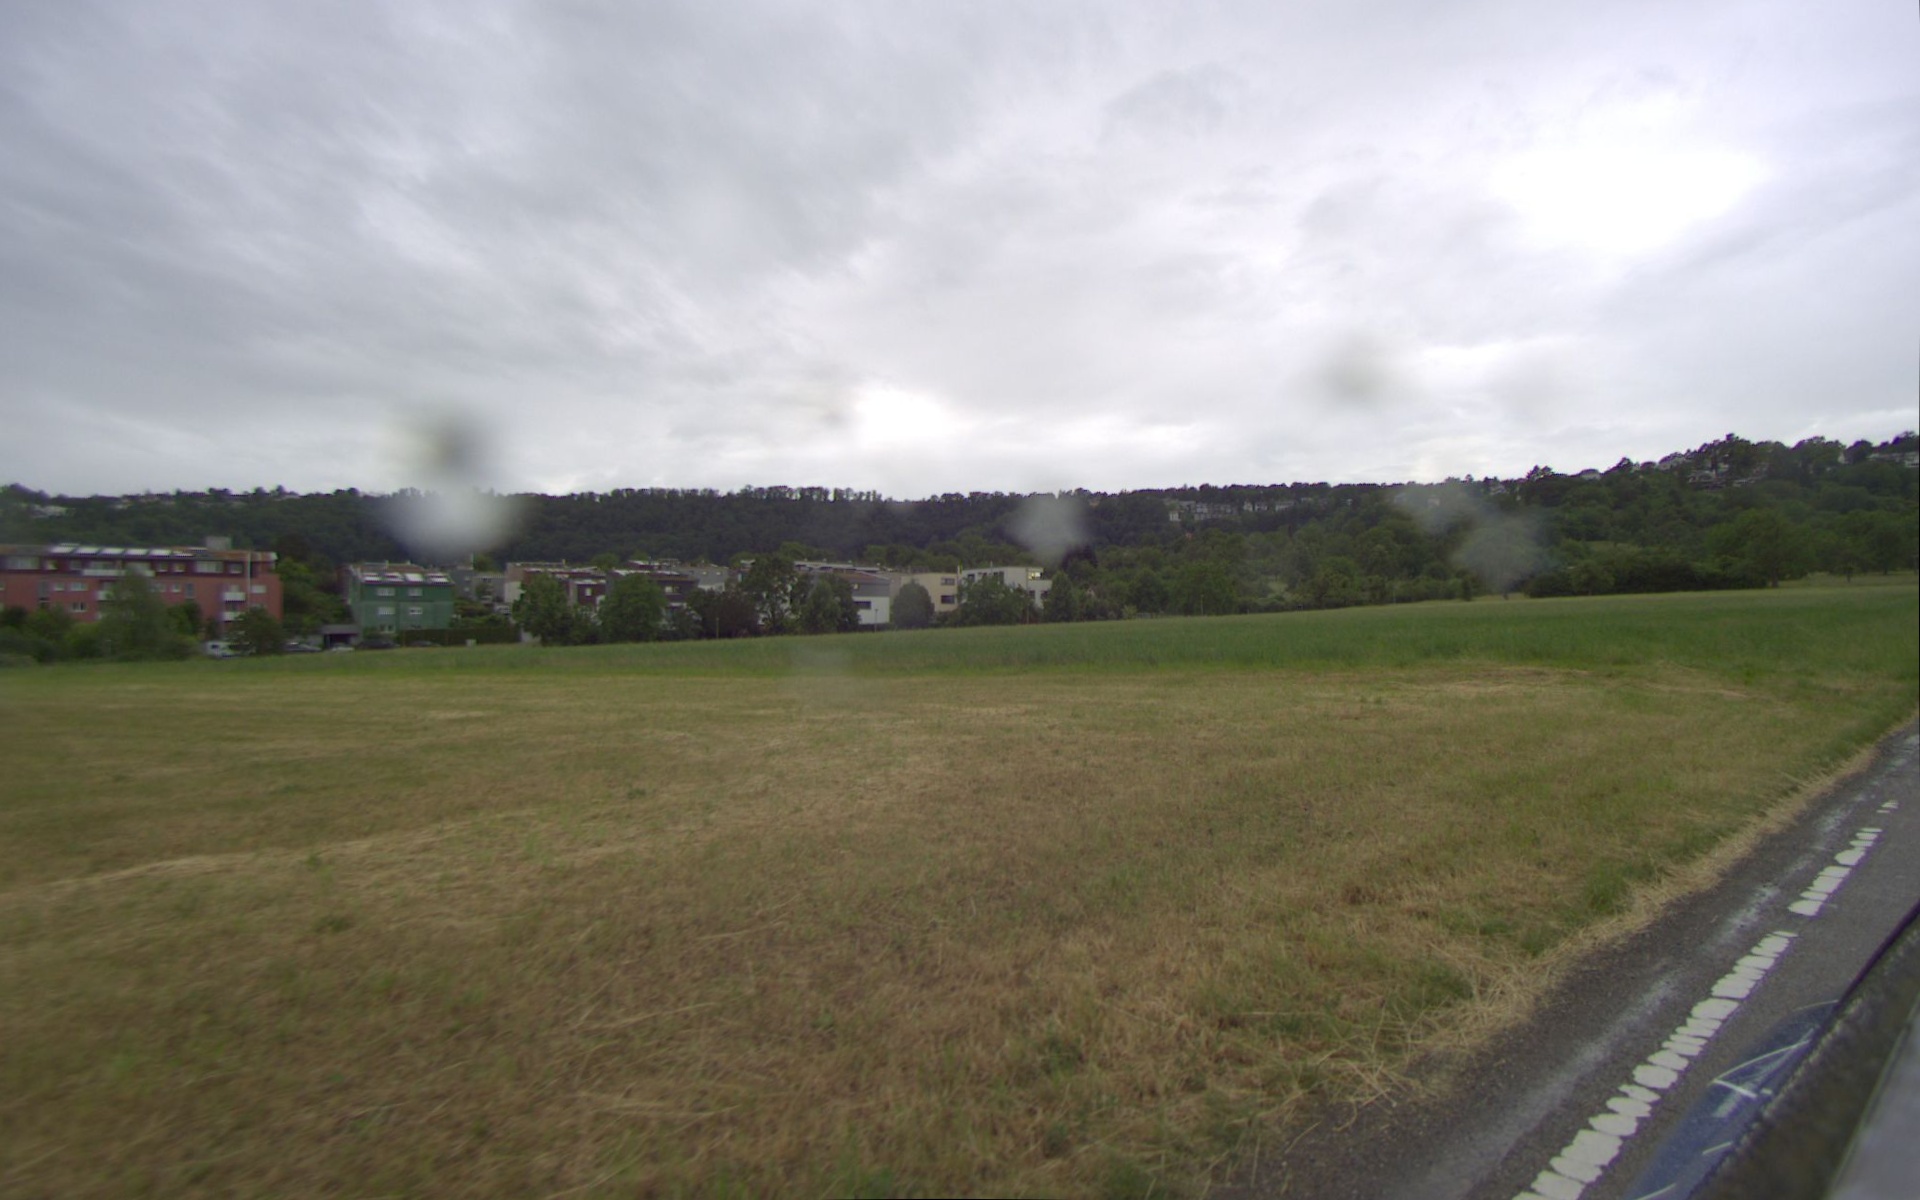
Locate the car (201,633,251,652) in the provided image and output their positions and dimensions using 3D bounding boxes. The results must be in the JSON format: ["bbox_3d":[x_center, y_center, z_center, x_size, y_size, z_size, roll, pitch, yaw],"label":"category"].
[{"bbox_3d":[-96.645,5.606,133.348,5.179,2.038,2.001,-3,1,-33],"label":"car"}]

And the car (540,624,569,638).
[{"bbox_3d":[-64.020,4.829,159.815,3.926,2.039,1.999,-1,1,-37],"label":"car"}]
